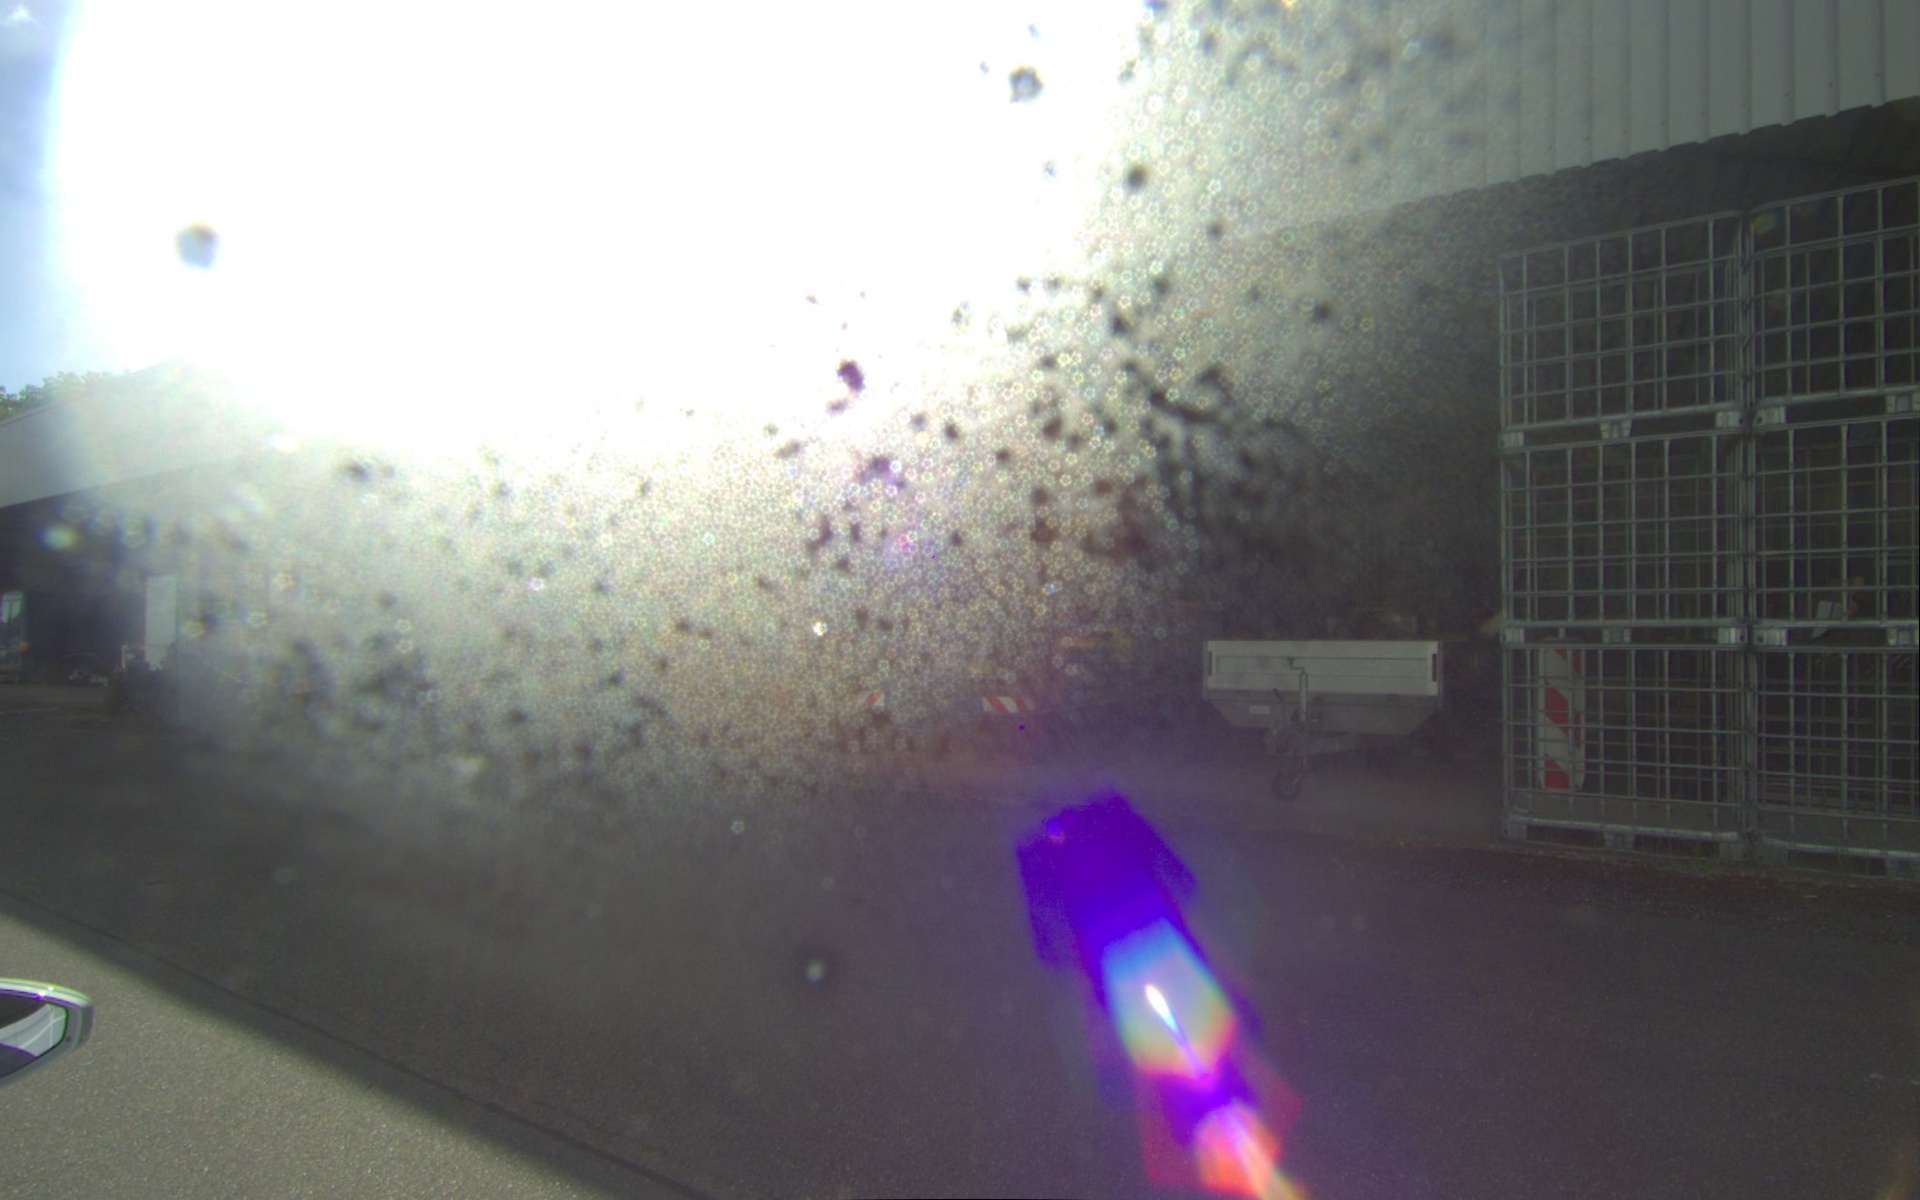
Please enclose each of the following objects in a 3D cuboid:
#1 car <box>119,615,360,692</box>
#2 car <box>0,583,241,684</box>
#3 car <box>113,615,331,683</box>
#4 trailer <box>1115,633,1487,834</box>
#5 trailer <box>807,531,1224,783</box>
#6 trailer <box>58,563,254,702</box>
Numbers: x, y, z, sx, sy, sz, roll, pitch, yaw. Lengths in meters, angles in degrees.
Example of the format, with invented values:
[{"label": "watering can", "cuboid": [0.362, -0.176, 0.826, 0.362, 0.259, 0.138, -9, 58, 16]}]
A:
[{"label": "car", "cuboid": [-15.893, 1.226, 22.299, 1.662, 1.543, 4.031, -3, -5, 33]}, {"label": "car", "cuboid": [-21.385, 0.937, 25.645, 1.890, 2.337, 4.425, -3, -4, 33]}, {"label": "car", "cuboid": [-18.232, 1.253, 24.915, 1.662, 1.543, 4.031, -3, -5, 33]}, {"label": "trailer", "cuboid": [3.490, 0.917, 9.180, 2.110, 1.148, 5.840, -1, -1, 30]}, {"label": "trailer", "cuboid": [0.998, 0.523, 11.161, 2.049, 2.058, 5.753, -1, -1, 33]}, {"label": "trailer", "cuboid": [-15.278, 0.630, 19.099, 1.703, 2.429, 2.518, -2, -2, 33]}]
